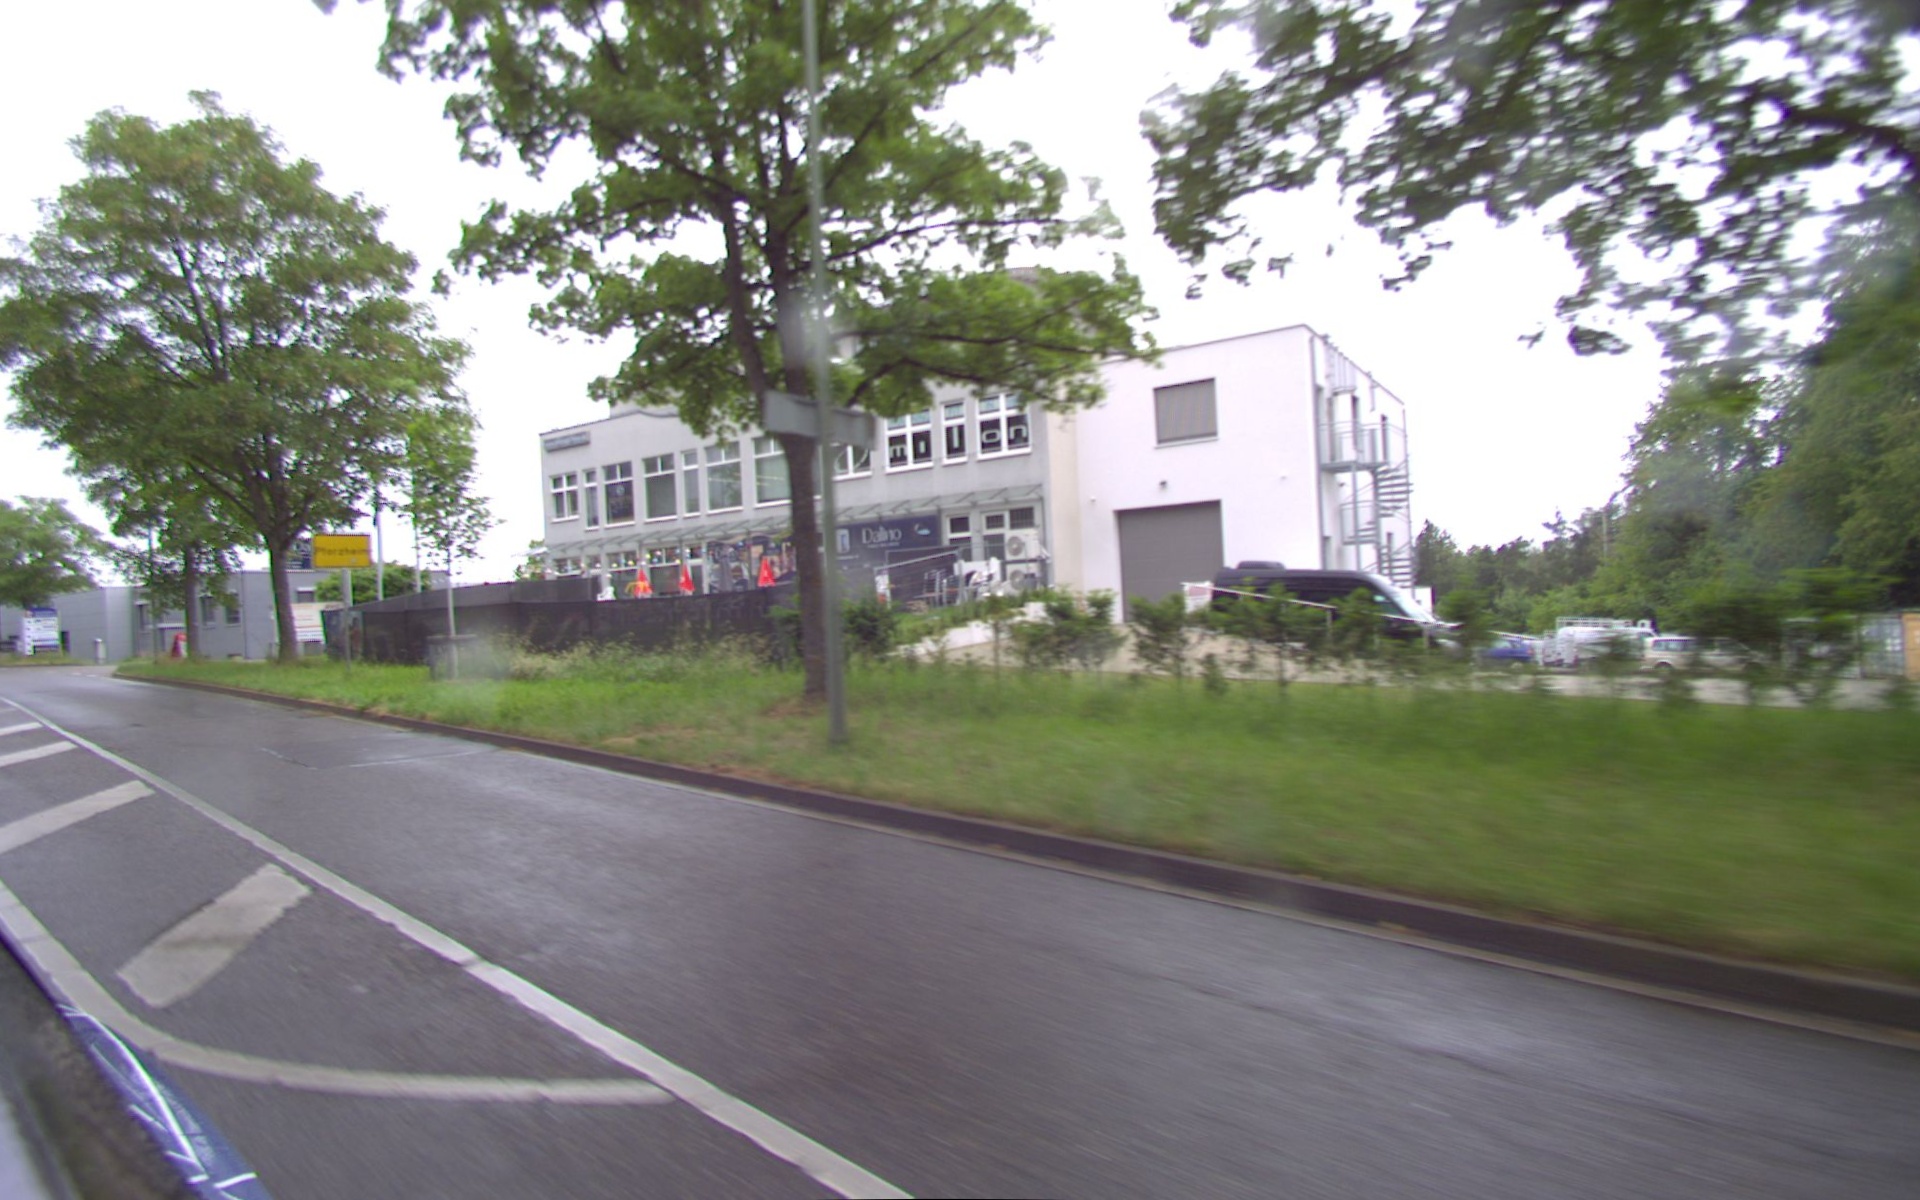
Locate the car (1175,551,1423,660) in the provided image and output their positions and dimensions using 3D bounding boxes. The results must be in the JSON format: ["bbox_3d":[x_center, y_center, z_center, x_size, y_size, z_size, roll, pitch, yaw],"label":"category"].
[{"bbox_3d":[8.071,0.028,24.416,5.222,1.929,1.887,9,6,38],"label":"car"}]

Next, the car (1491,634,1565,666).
[{"bbox_3d":[38.199,3.363,68.112,3.966,2.029,1.815,-2,0,17],"label":"car"}]

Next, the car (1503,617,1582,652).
[{"bbox_3d":[36.202,2.147,62.994,3.974,2.029,1.985,-2,0,23],"label":"car"}]

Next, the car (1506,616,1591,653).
[{"bbox_3d":[34.438,1.999,59.309,3.972,2.029,1.986,-2,0,22],"label":"car"}]

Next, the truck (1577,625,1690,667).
[{"bbox_3d":[33.635,2.309,50.696,4.507,1.917,1.980,-2,0,30],"label":"truck"}]

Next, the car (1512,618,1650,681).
[{"bbox_3d":[21.840,1.718,35.647,3.991,2.029,1.750,-2,0,36],"label":"car"}]

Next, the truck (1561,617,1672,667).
[{"bbox_3d":[34.921,2.237,54.005,4.667,2.529,1.982,-2,0,28],"label":"truck"}]

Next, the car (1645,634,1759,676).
[{"bbox_3d":[34.778,2.574,47.560,4.205,1.819,1.686,-2,0,35],"label":"car"}]
